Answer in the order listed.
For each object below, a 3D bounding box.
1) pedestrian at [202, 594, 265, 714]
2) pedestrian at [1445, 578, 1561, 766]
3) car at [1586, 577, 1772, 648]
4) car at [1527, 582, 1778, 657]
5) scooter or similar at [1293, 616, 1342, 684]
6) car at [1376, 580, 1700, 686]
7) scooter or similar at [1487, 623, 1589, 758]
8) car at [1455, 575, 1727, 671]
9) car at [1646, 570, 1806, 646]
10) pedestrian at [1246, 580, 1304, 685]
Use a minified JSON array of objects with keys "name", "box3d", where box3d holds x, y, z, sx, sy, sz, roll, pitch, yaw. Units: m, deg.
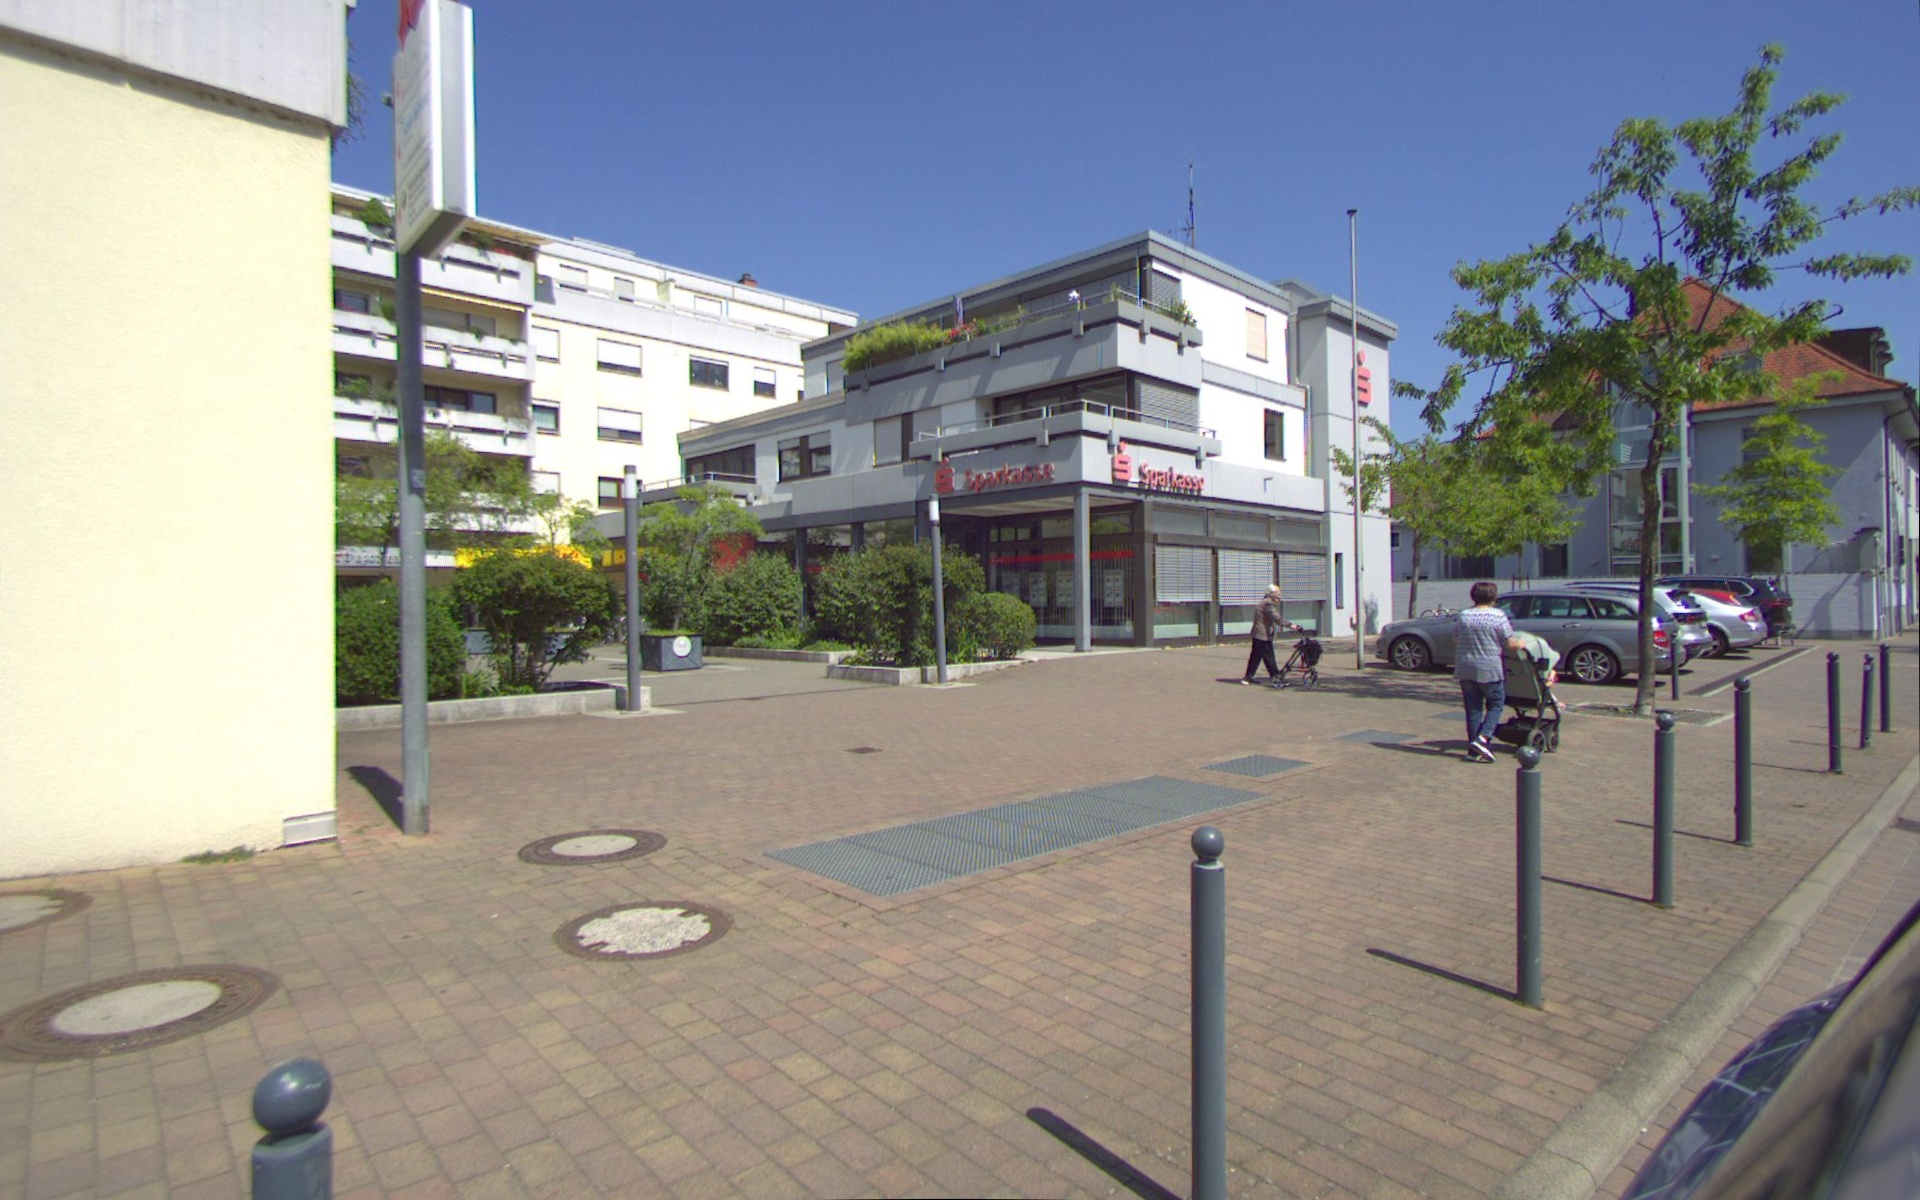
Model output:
[{"name":"pedestrian","box3d":[-9.405,0.671,13.090,0.594,1.482,0.794,0,0,-40]},{"name":"pedestrian","box3d":[4.722,0.585,8.790,1.029,1.535,0.513,0,1,-39]},{"name":"car","box3d":[17.049,0.267,24.088,3.421,1.571,1.467,0,0,45]},{"name":"car","box3d":[15.222,0.351,22.390,4.429,1.460,1.632,1,1,42]},{"name":"scooter or similar","box3d":[5.224,0.726,14.813,0.537,0.958,0.536,0,0,3]},{"name":"car","box3d":[9.451,0.440,16.818,4.432,1.484,1.664,2,2,44]},{"name":"scooter or similar","box3d":[5.285,0.797,9.250,0.892,1.132,0.506,0,1,-38]},{"name":"car","box3d":[11.550,0.331,18.700,4.033,1.579,1.686,1,1,43]},{"name":"car","box3d":[18.955,0.152,25.099,3.032,1.759,1.324,1,1,44]},{"name":"pedestrian","box3d":[4.618,0.464,14.865,0.711,1.520,0.531,0,0,4]}]
